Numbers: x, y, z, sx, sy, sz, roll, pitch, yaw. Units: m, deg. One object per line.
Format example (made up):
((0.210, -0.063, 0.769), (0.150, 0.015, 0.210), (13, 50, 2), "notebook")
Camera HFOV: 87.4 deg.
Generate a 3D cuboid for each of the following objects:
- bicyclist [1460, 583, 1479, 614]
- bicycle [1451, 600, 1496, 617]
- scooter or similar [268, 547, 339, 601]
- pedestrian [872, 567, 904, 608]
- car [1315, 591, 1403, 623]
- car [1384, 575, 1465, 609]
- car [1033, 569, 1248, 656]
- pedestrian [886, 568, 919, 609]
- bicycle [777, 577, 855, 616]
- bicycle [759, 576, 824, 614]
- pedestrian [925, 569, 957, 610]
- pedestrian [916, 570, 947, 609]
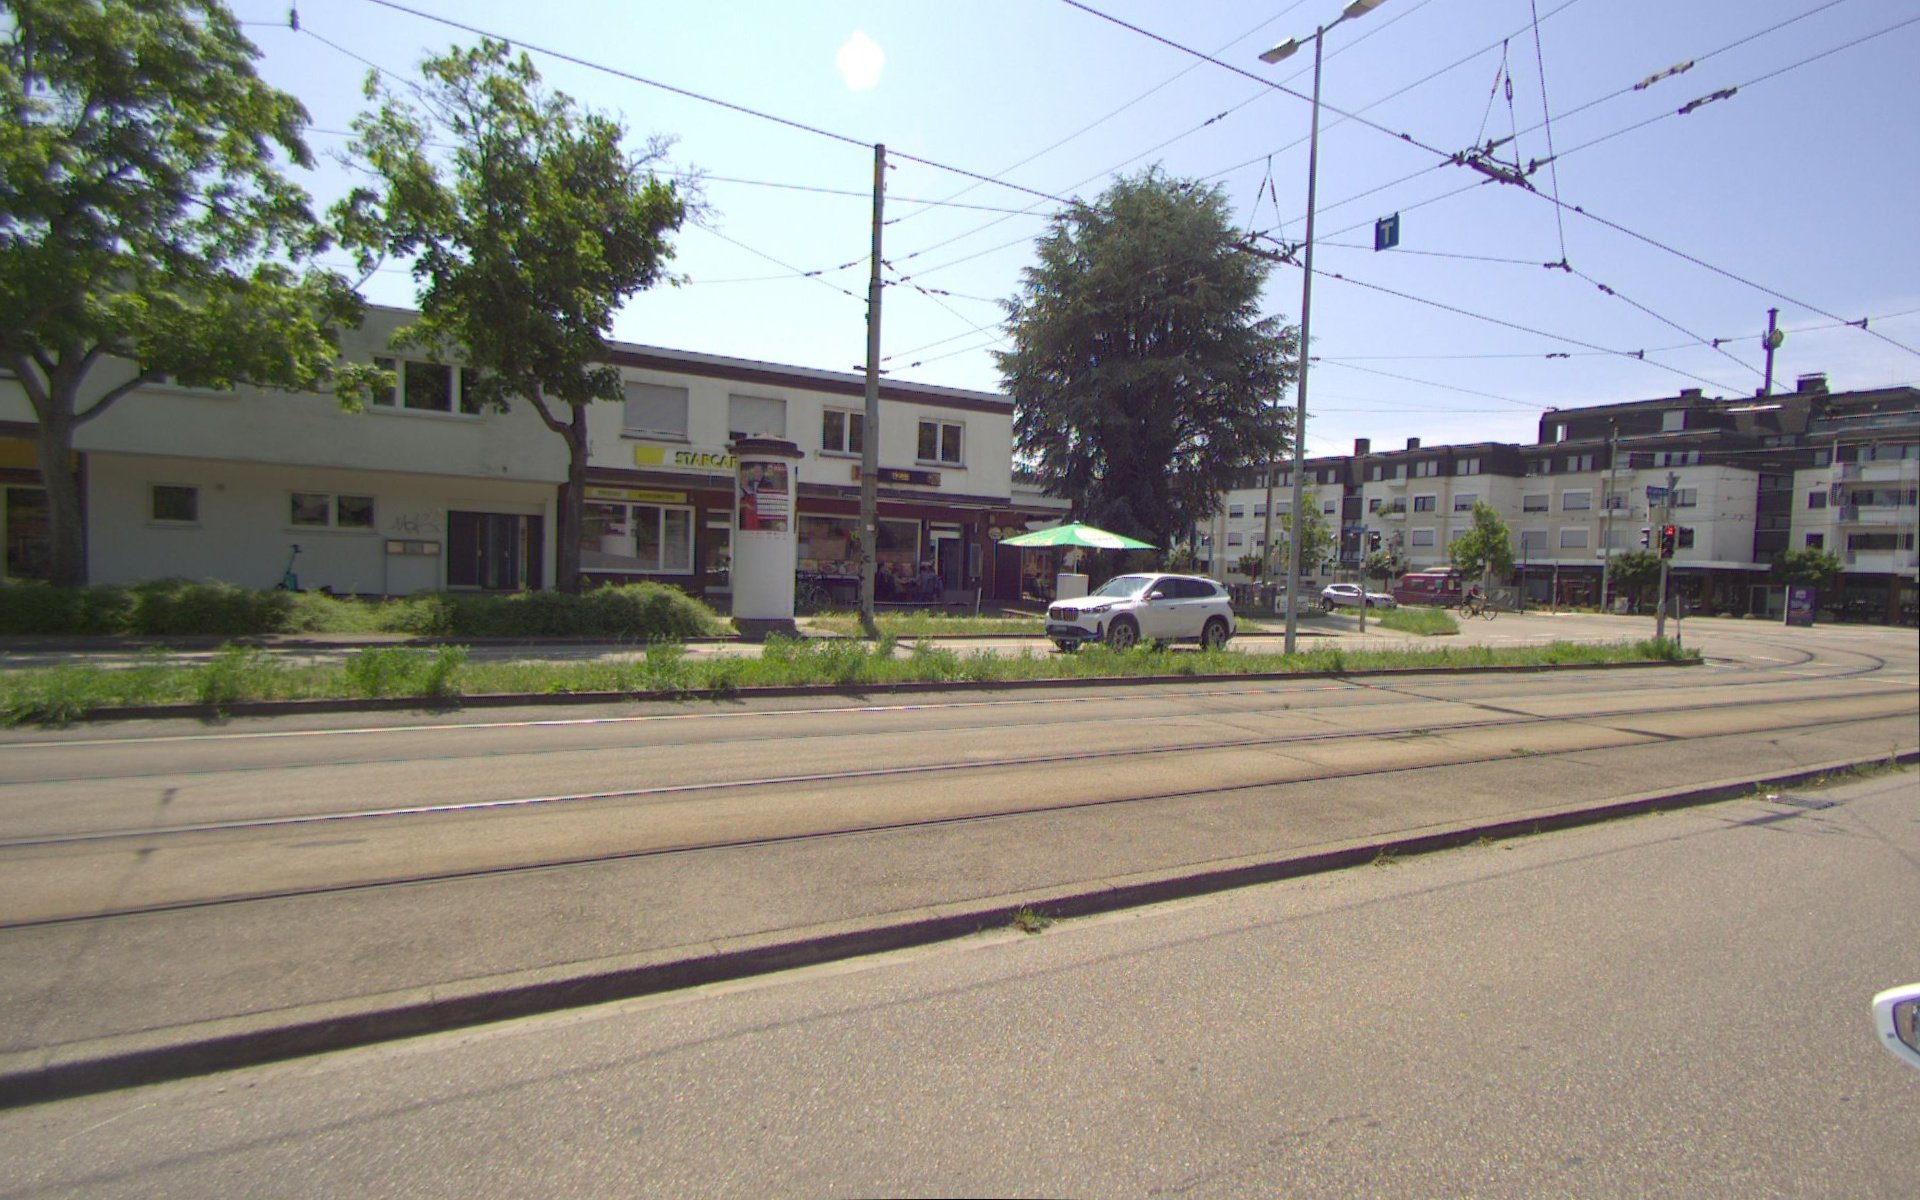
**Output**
((26.006, -0.076, 51.230), (0.741, 1.521, 0.480), (2, 0, 39), "bicyclist")
((26.110, 0.442, 51.069), (1.956, 0.794, 0.464), (2, 0, 40), "bicycle")
((-15.534, -0.607, 23.785), (1.321, 1.207, 0.455), (2, 0, -10), "scooter or similar")
((-2.336, -0.400, 32.690), (0.832, 1.285, 0.586), (2, 0, -30), "pedestrian")
((22.156, 0.366, 55.879), (1.923, 1.605, 4.105), (2, 0, -39), "car")
((34.285, -0.612, 74.239), (2.219, 2.372, 5.038), (2, 0, -31), "car")
((3.807, 0.276, 20.824), (4.525, 1.631, 1.712), (2, 0, -36), "car")
((-1.849, -0.366, 32.198), (0.832, 1.285, 0.586), (2, 0, -30), "pedestrian")
((-3.915, -0.100, 27.431), (2.005, 0.992, 0.607), (2, 0, -30), "bicycle")
((-4.767, -0.136, 28.472), (1.738, 0.992, 0.536), (2, 0, -30), "bicycle")
((-0.623, -0.333, 32.794), (0.832, 1.285, 0.586), (2, 0, -30), "pedestrian")
((-0.961, -0.345, 33.444), (0.832, 1.285, 0.586), (2, 0, -30), "pedestrian")
